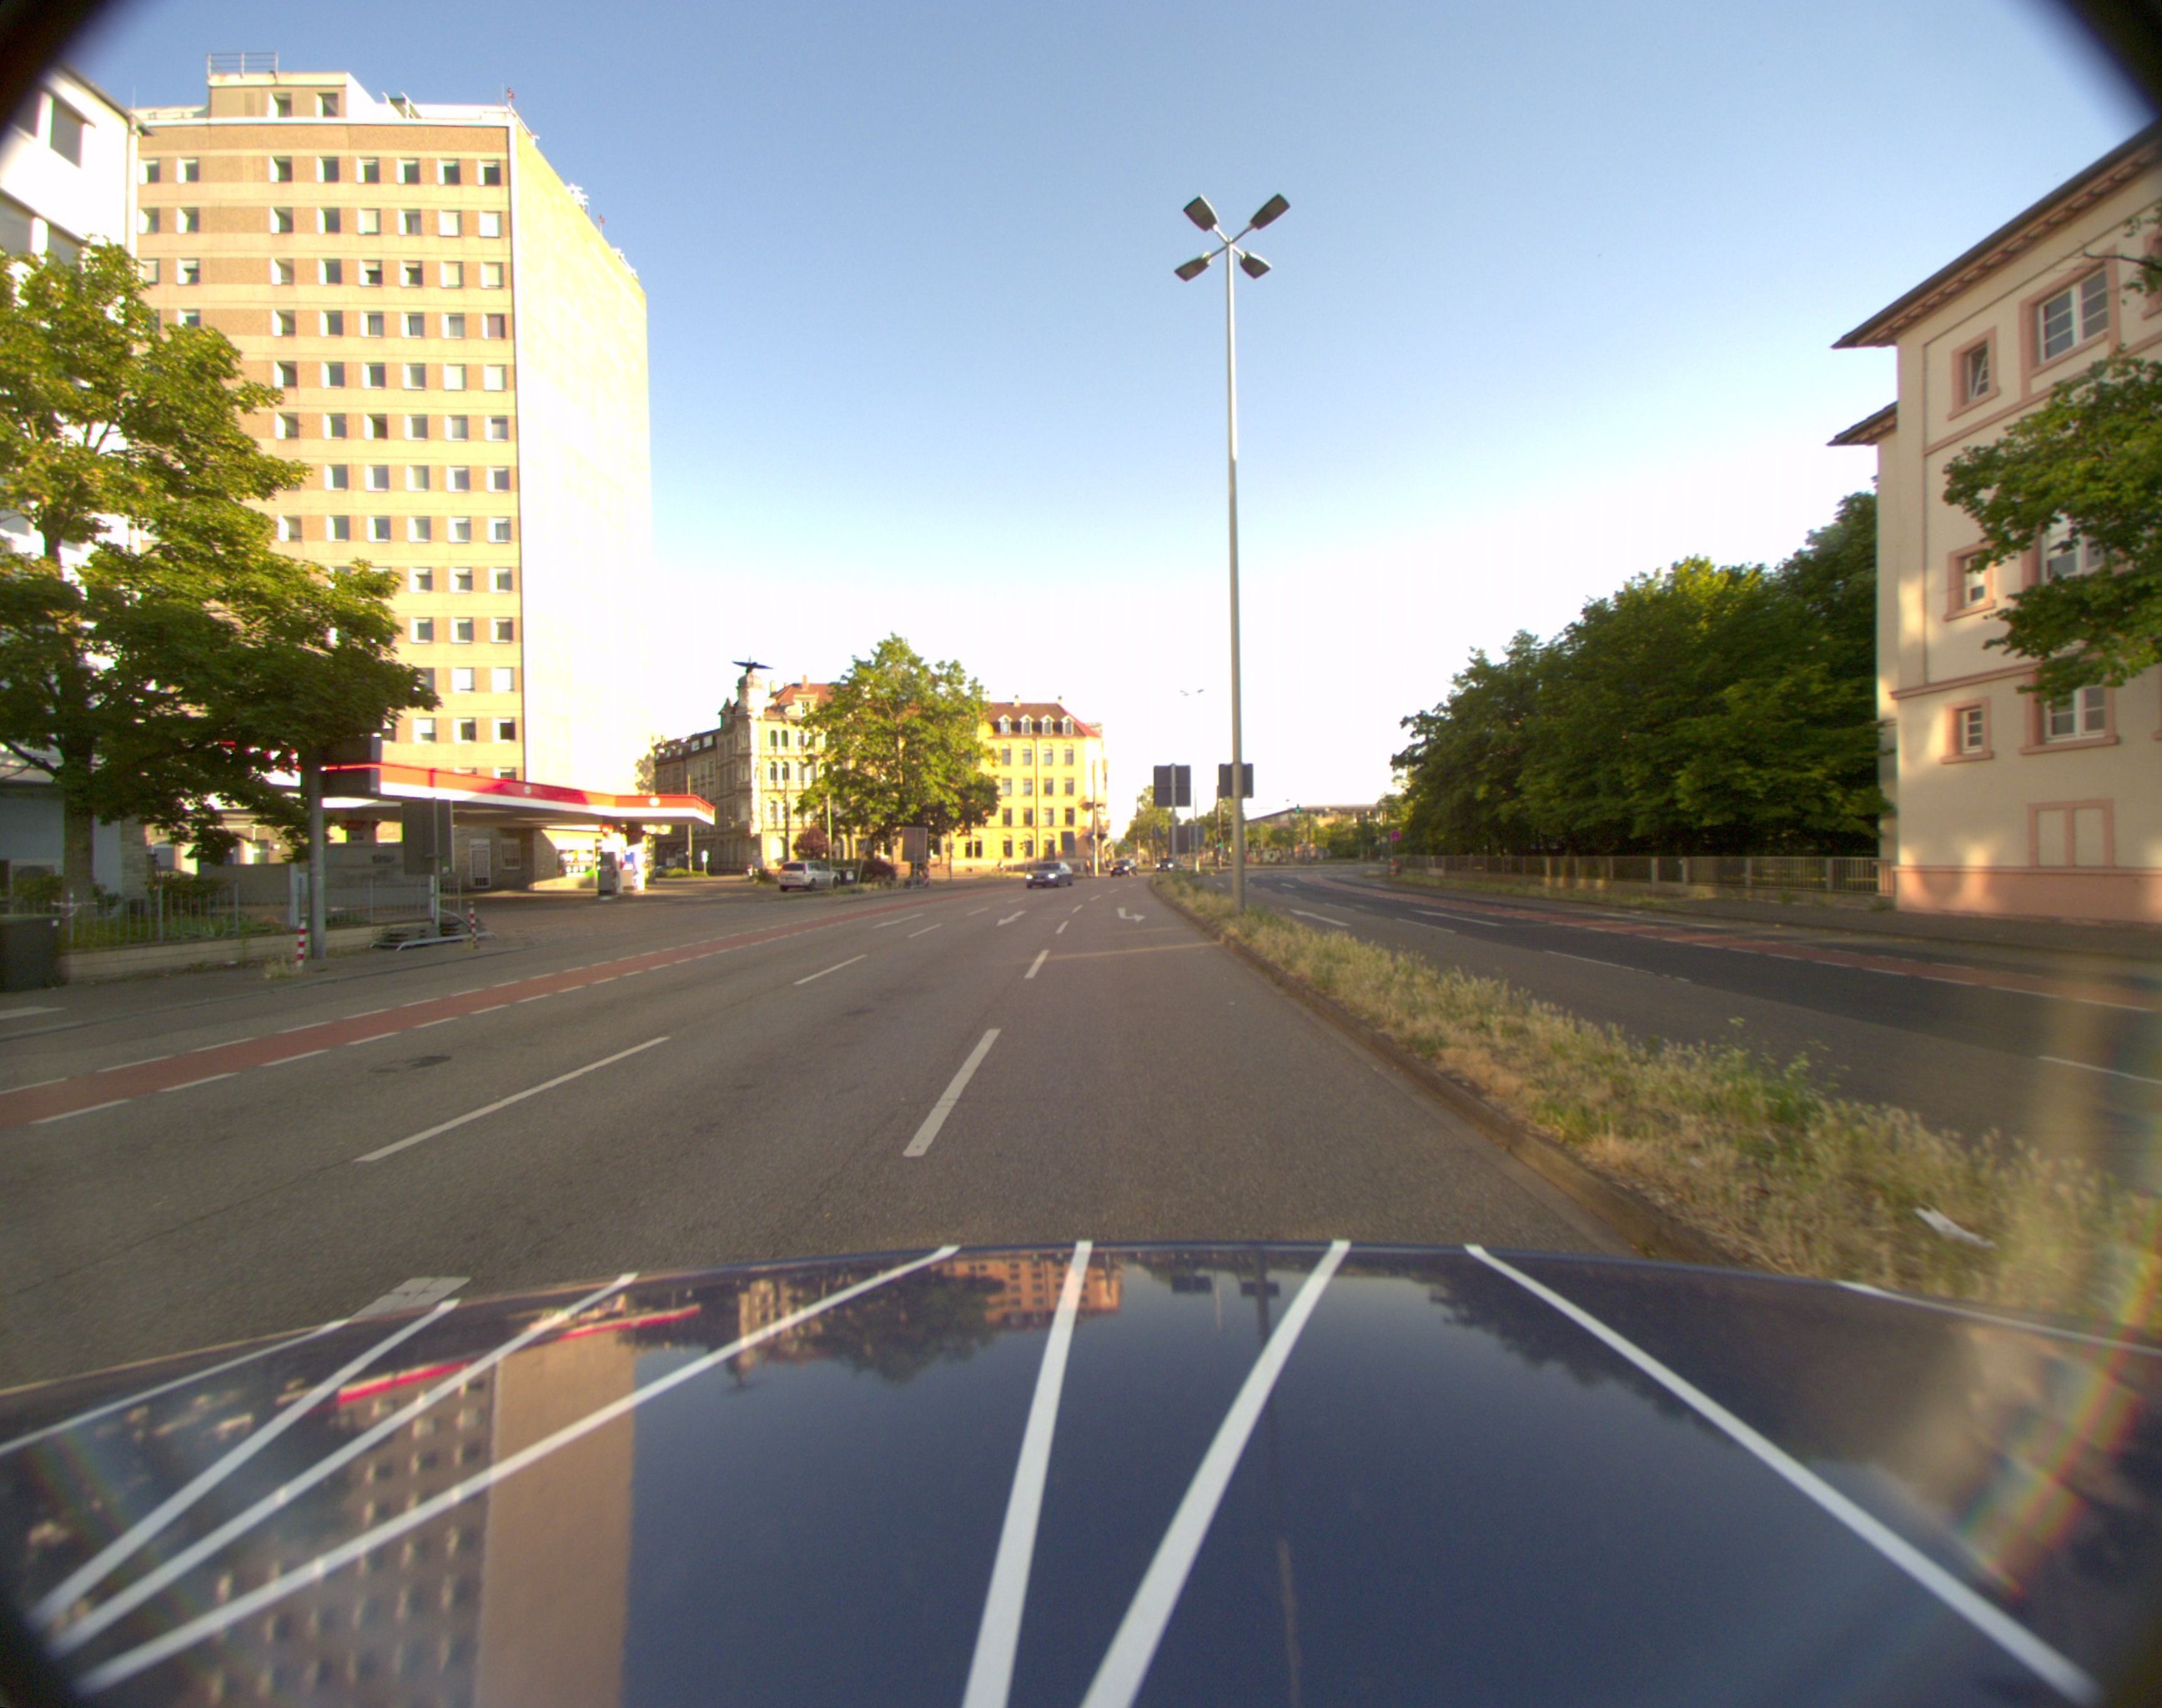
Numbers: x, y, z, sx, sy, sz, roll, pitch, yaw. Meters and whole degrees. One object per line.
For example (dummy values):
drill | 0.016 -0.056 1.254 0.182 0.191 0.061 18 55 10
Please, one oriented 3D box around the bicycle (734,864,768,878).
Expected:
bicycle | -29.333 1.500 67.536 2.621 1.063 0.784 -3 1 -5

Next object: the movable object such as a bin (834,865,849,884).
movable object such as a bin | -13.642 1.172 43.317 0.544 1.013 0.688 -1 1 6

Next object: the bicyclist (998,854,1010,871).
bicyclist | -7.261 0.793 71.364 1.065 1.639 0.732 -1 1 -6

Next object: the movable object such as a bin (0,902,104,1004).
movable object such as a bin | -14.867 1.369 10.693 0.956 1.320 0.954 -1 1 -2

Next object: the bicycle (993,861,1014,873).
bicycle | -7.256 1.249 71.235 1.927 1.053 0.451 -1 1 -7

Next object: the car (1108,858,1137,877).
car | 3.507 1.138 63.439 1.583 1.440 3.876 -2 0 14

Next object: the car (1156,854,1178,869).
car | 8.951 0.783 78.896 1.729 1.440 4.049 -2 0 14

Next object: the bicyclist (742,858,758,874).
bicyclist | -29.435 1.028 67.592 1.069 1.357 0.854 -3 1 -4

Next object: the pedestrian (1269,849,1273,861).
pedestrian | 34.511 0.188 137.890 0.556 2.002 0.664 -1 1 1

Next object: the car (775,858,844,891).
car | -13.766 0.991 38.768 1.688 1.508 3.798 -1 1 8

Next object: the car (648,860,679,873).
car | -49.203 1.487 89.505 3.988 1.524 2.004 -1 0 42

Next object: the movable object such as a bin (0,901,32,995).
movable object such as a bin | -15.849 1.351 10.636 0.956 1.320 0.954 -1 1 -2

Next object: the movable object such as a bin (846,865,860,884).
movable object such as a bin | -12.923 1.156 43.102 0.544 1.013 0.688 -1 1 6

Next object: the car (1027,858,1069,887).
car | -1.822 1.023 43.419 1.819 1.440 4.668 -2 0 4

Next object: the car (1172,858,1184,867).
car | 16.477 1.422 128.798 1.673 1.410 4.443 -2 0 9
